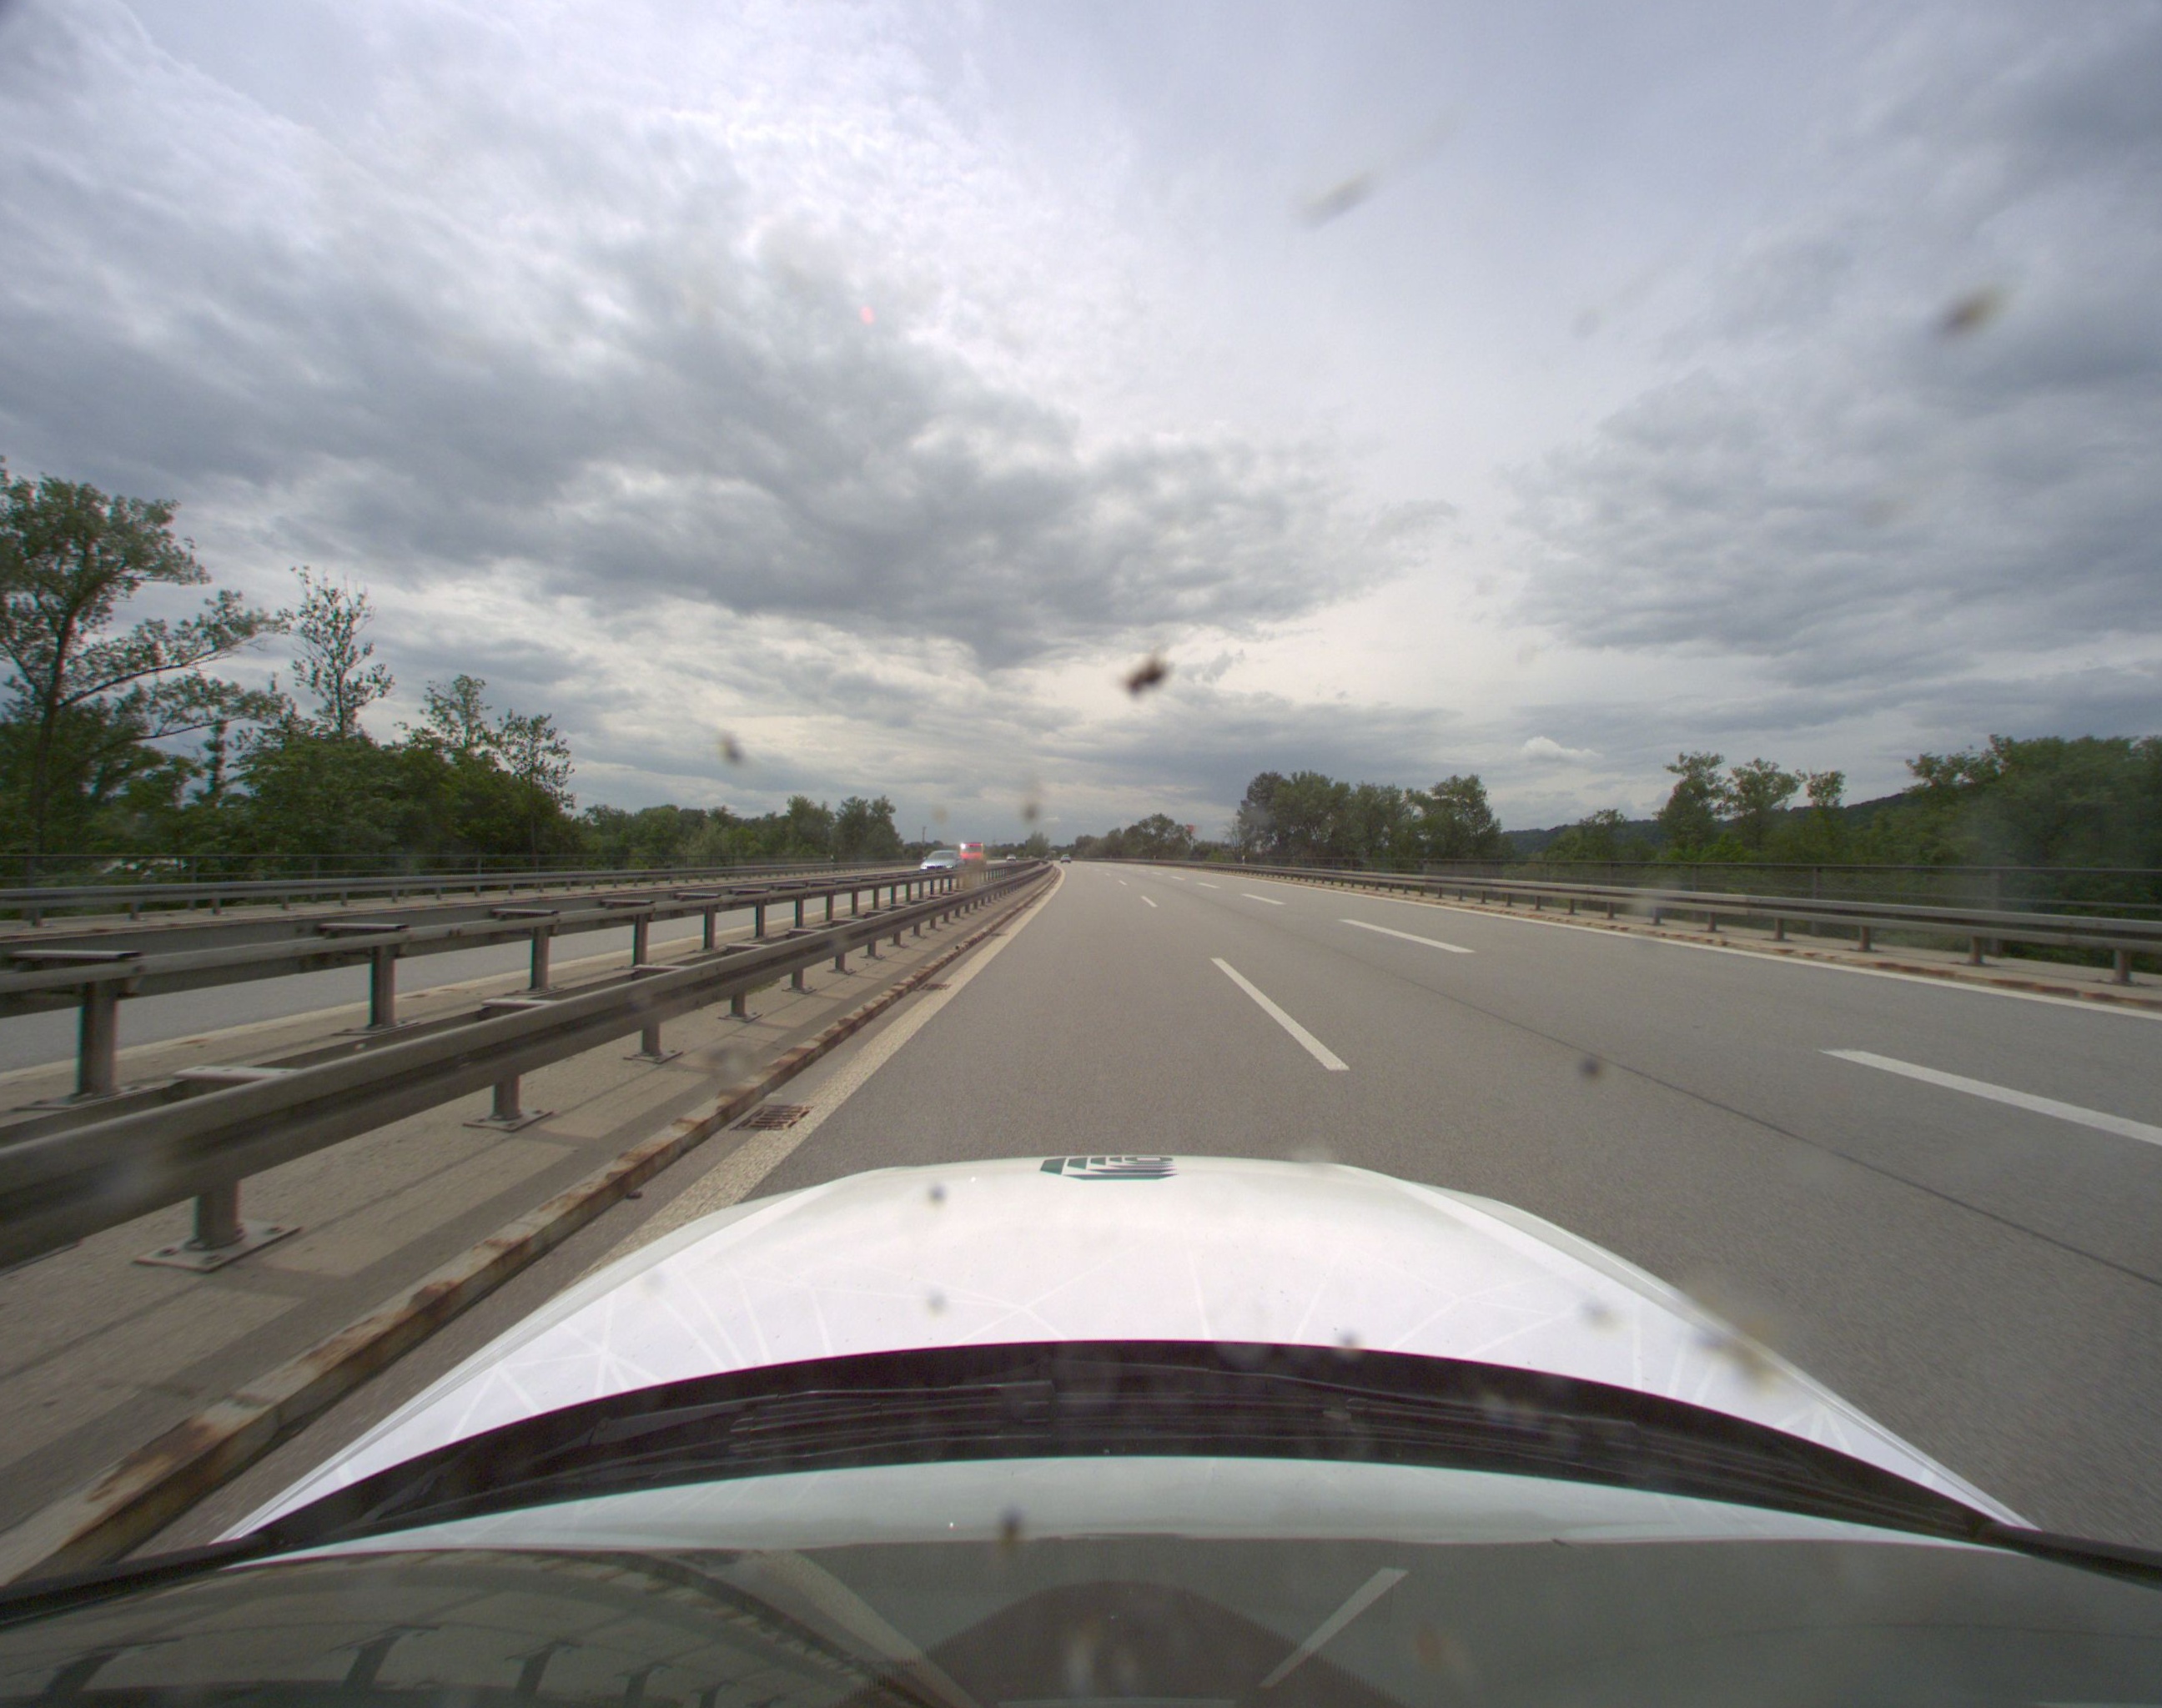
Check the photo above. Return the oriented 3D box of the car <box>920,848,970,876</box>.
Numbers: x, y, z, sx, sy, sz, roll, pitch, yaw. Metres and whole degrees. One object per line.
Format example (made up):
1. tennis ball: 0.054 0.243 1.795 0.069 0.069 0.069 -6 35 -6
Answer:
1. car: -6.991 0.386 42.163 1.722 1.406 4.251 0 0 2

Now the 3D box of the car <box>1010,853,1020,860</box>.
1. car: -13.415 0.551 165.164 1.767 1.387 4.384 0 0 -2

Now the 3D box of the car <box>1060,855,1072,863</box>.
1. car: -3.008 1.031 165.315 1.901 1.640 4.383 0 0 -8

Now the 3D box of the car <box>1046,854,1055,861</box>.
1. car: -7.918 0.863 210.566 1.891 1.640 4.609 0 0 -8

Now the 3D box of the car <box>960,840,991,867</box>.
1. car: -9.094 -0.048 70.579 1.988 2.293 6.394 0 0 -1
